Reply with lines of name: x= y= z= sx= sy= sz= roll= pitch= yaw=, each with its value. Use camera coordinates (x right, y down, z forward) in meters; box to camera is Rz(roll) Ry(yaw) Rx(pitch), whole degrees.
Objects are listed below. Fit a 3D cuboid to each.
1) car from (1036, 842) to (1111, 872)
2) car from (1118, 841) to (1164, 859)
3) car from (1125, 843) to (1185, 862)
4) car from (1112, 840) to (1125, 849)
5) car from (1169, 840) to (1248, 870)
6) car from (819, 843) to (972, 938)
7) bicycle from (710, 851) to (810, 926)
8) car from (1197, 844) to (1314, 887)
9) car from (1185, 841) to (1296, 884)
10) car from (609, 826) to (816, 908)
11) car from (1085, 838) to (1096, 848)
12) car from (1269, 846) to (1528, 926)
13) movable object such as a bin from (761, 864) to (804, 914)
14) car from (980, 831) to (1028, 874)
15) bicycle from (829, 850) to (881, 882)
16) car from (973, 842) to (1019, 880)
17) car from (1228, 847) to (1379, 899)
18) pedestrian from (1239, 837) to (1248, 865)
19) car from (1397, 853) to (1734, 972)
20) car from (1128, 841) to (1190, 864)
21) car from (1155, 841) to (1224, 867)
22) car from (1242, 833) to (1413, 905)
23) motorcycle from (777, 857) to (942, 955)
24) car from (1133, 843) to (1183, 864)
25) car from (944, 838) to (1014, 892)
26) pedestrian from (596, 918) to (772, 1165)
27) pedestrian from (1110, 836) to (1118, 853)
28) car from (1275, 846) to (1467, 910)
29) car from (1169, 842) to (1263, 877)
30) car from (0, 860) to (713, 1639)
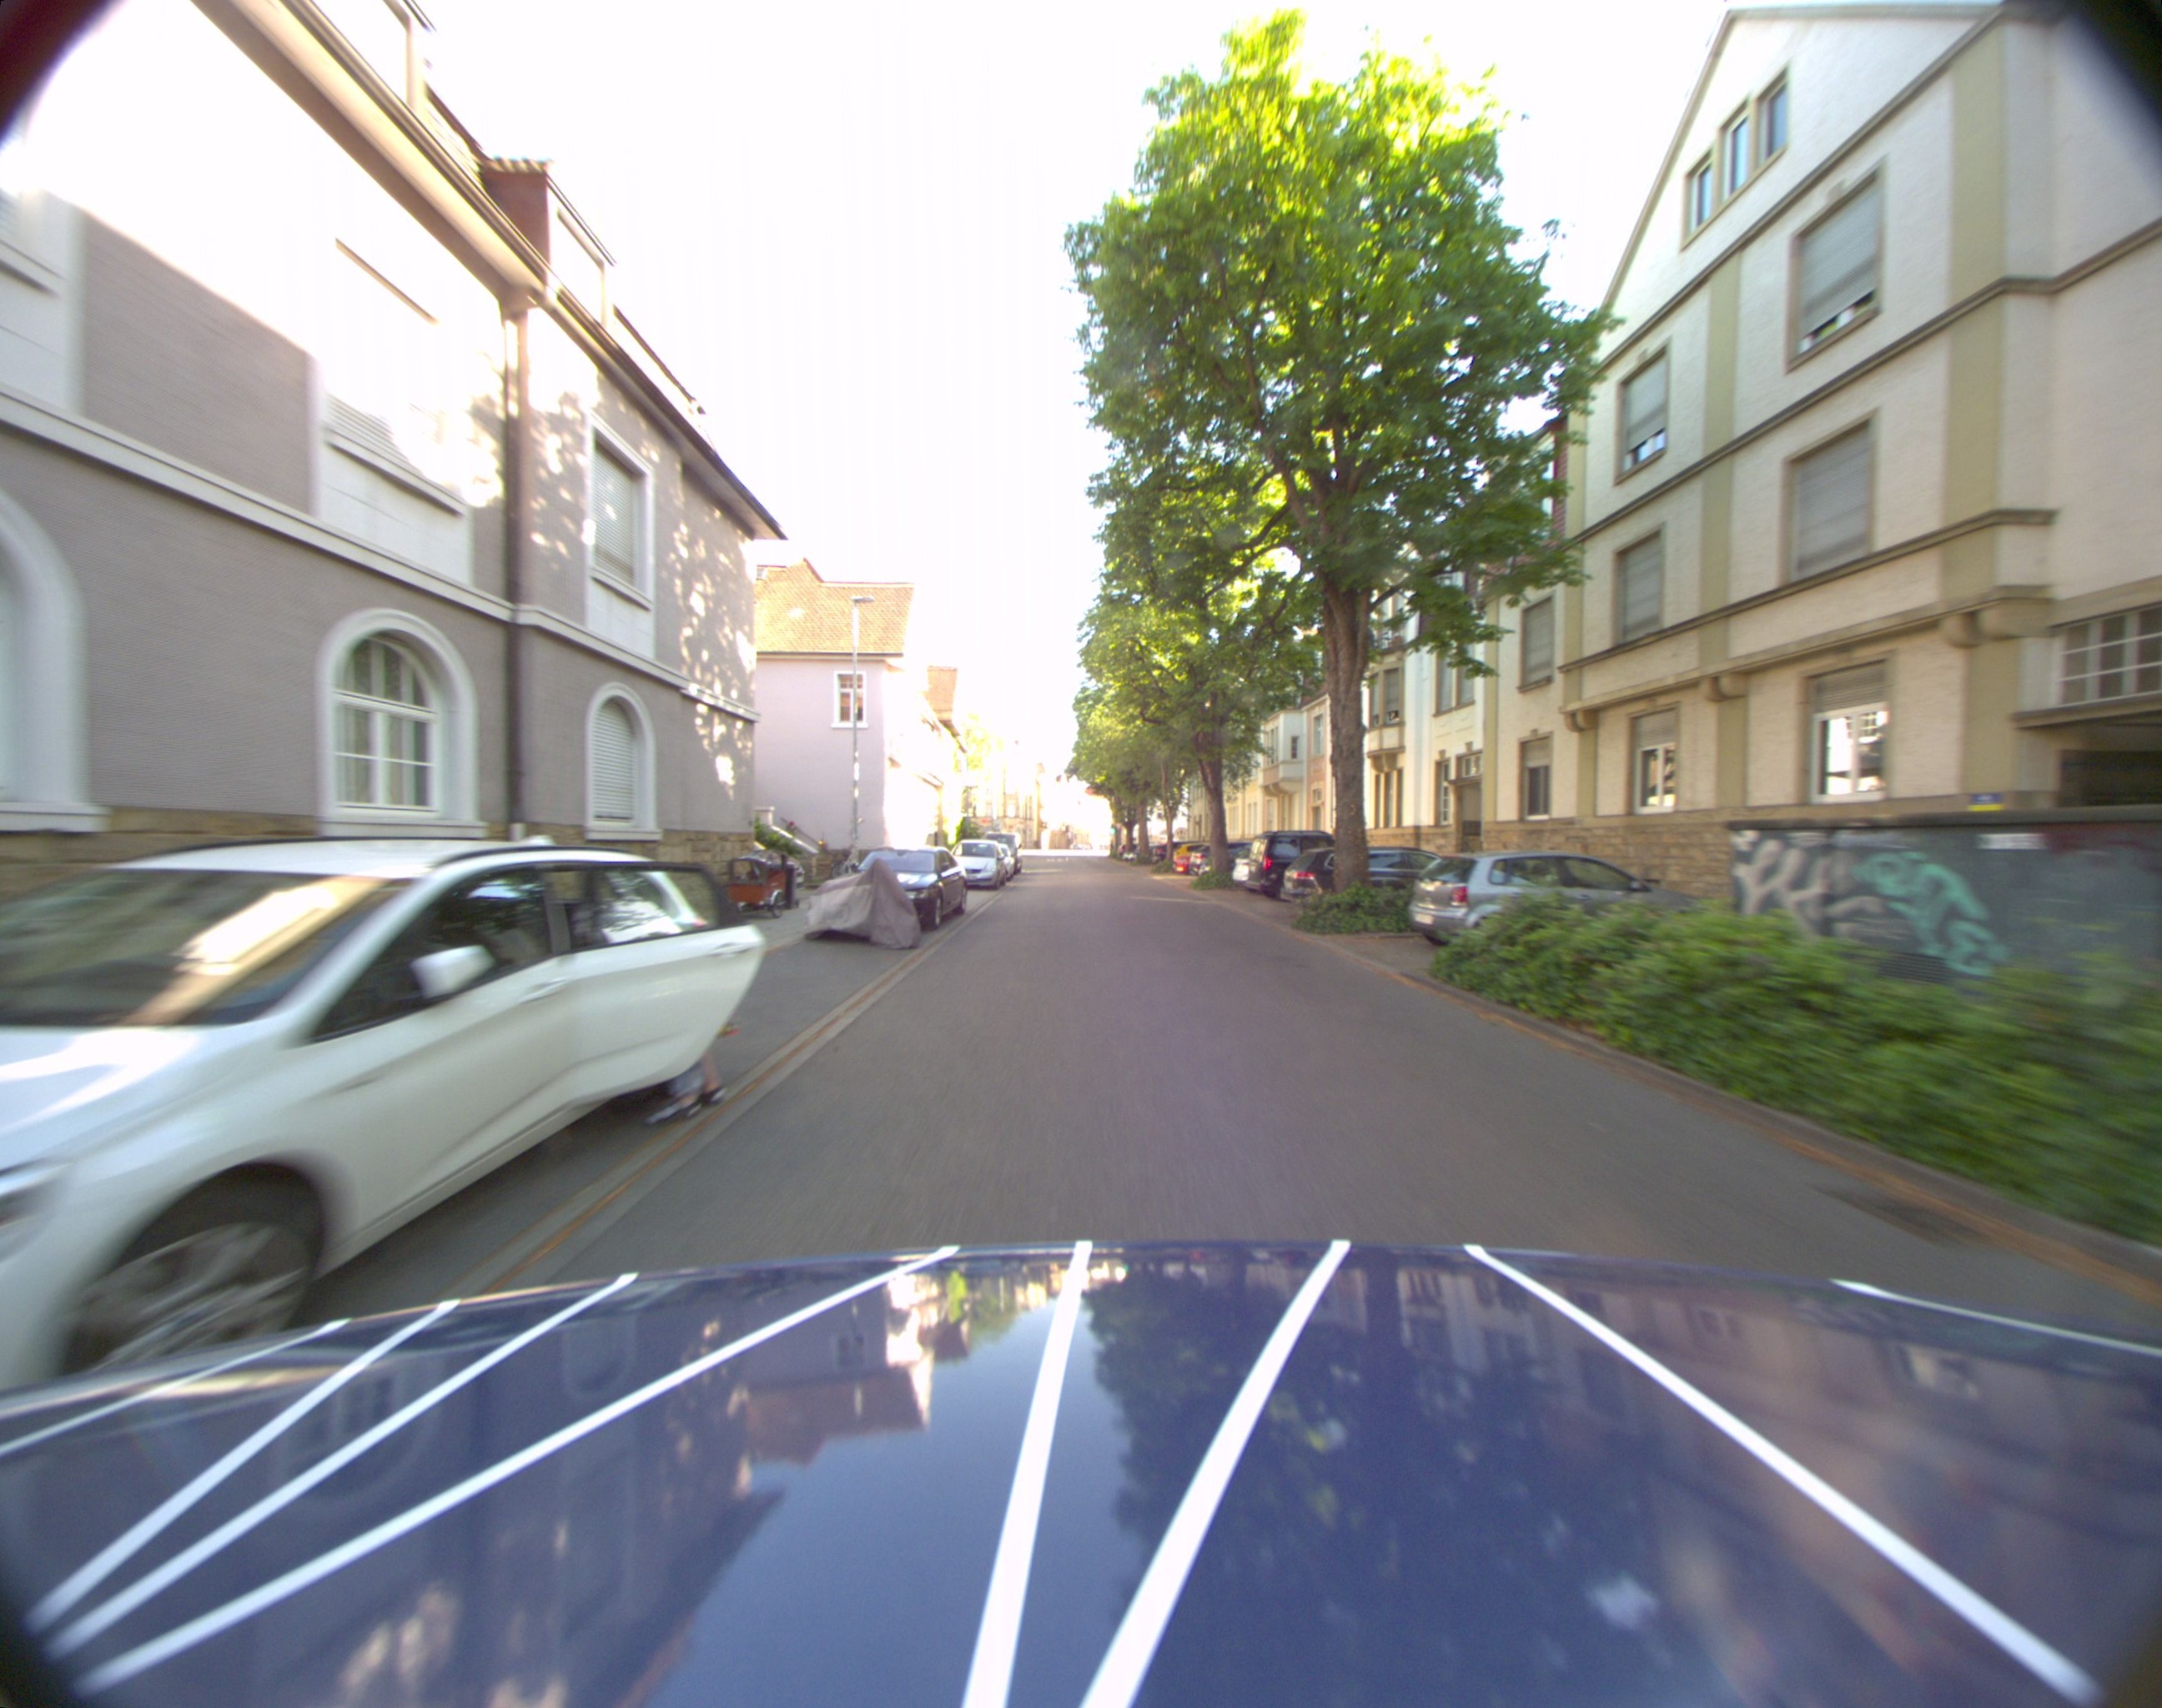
car: x=-0.404 y=0.157 z=41.806 sx=3.997 sy=1.558 sz=1.863 roll=-1 pitch=2 yaw=0
car: x=5.261 y=-0.358 z=67.395 sx=3.892 sy=1.467 sz=1.614 roll=1 pitch=2 yaw=-1
car: x=5.454 y=-0.143 z=56.418 sx=4.223 sy=1.341 sz=1.702 roll=-1 pitch=2 yaw=-1
car: x=7.624 y=-1.954 z=155.495 sx=1.916 sy=1.649 sz=4.349 roll=-3 pitch=1 yaw=11
car: x=6.557 y=0.036 z=39.293 sx=3.800 sy=1.454 sz=1.863 roll=-1 pitch=2 yaw=0
car: x=-3.410 y=0.575 z=14.903 sx=1.859 sy=1.484 sz=4.606 roll=2 pitch=1 yaw=0
bicycle: x=-6.239 y=0.624 z=14.938 sx=1.085 sy=1.330 sz=2.249 roll=1 pitch=1 yaw=-2
car: x=6.289 y=0.411 z=27.752 sx=3.911 sy=1.438 sz=1.859 roll=-1 pitch=1 yaw=4
car: x=6.307 y=0.297 z=30.261 sx=3.998 sy=1.583 sz=1.858 roll=-1 pitch=1 yaw=-2
car: x=-8.808 y=0.267 z=18.427 sx=4.150 sy=1.833 sz=1.764 roll=1 pitch=2 yaw=-2
car: x=2.229 y=-2.521 z=170.857 sx=1.832 sy=2.022 sz=3.823 roll=-2 pitch=0 yaw=10
car: x=6.399 y=0.605 z=15.651 sx=4.544 sy=1.494 sz=1.891 roll=0 pitch=2 yaw=-2
movable object such as a bin: x=-6.492 y=0.755 z=16.551 sx=0.649 sy=1.034 sz=0.827 roll=1 pitch=1 yaw=-3
car: x=-3.677 y=-0.111 z=37.246 sx=1.870 sy=1.905 sz=4.781 roll=2 pitch=1 yaw=-1
bicycle: x=-7.678 y=0.404 z=25.864 sx=1.640 sy=1.094 sz=0.395 roll=0 pitch=2 yaw=-3
car: x=-3.462 y=0.241 z=31.552 sx=1.683 sy=1.449 sz=4.436 roll=1 pitch=1 yaw=-4
car: x=6.628 y=0.528 z=22.854 sx=3.999 sy=1.439 sz=1.741 roll=0 pitch=2 yaw=-5
pedestrian: x=9.816 y=-0.201 z=45.836 sx=0.461 sy=1.649 sz=0.895 roll=0 pitch=2 yaw=7
car: x=6.632 y=0.756 z=10.668 sx=3.684 sy=1.479 sz=1.641 roll=0 pitch=2 yaw=-2
car: x=5.284 y=-0.089 z=51.727 sx=3.997 sy=1.474 sz=1.785 roll=-1 pitch=2 yaw=0
car: x=6.619 y=-0.010 z=46.568 sx=3.997 sy=1.499 sz=1.722 roll=1 pitch=2 yaw=0
car: x=6.555 y=0.358 z=20.518 sx=3.990 sy=1.845 sz=1.828 roll=0 pitch=2 yaw=-2
motorcycle: x=-3.330 y=0.754 z=11.542 sx=2.197 sy=1.331 sz=0.922 roll=2 pitch=1 yaw=6
car: x=5.479 y=-0.052 z=54.299 sx=3.442 sy=1.444 sz=1.702 roll=0 pitch=2 yaw=1
car: x=-3.368 y=0.314 z=25.835 sx=1.794 sy=1.591 sz=3.998 roll=3 pitch=2 yaw=0
pedestrian: x=-2.259 y=1.028 z=4.401 sx=0.726 sy=1.250 sz=0.645 roll=1 pitch=2 yaw=-8
pedestrian: x=3.292 y=-0.930 z=74.820 sx=0.695 sy=1.672 sz=0.680 roll=1 pitch=2 yaw=9
car: x=6.981 y=0.542 z=18.565 sx=3.991 sy=1.429 sz=1.828 roll=0 pitch=2 yaw=-3
car: x=6.179 y=0.242 z=35.110 sx=3.997 sy=1.506 sz=1.746 roll=-1 pitch=2 yaw=-1
car: x=-3.244 y=0.885 z=2.979 sx=1.704 sy=1.530 sz=4.153 roll=2 pitch=1 yaw=-3
